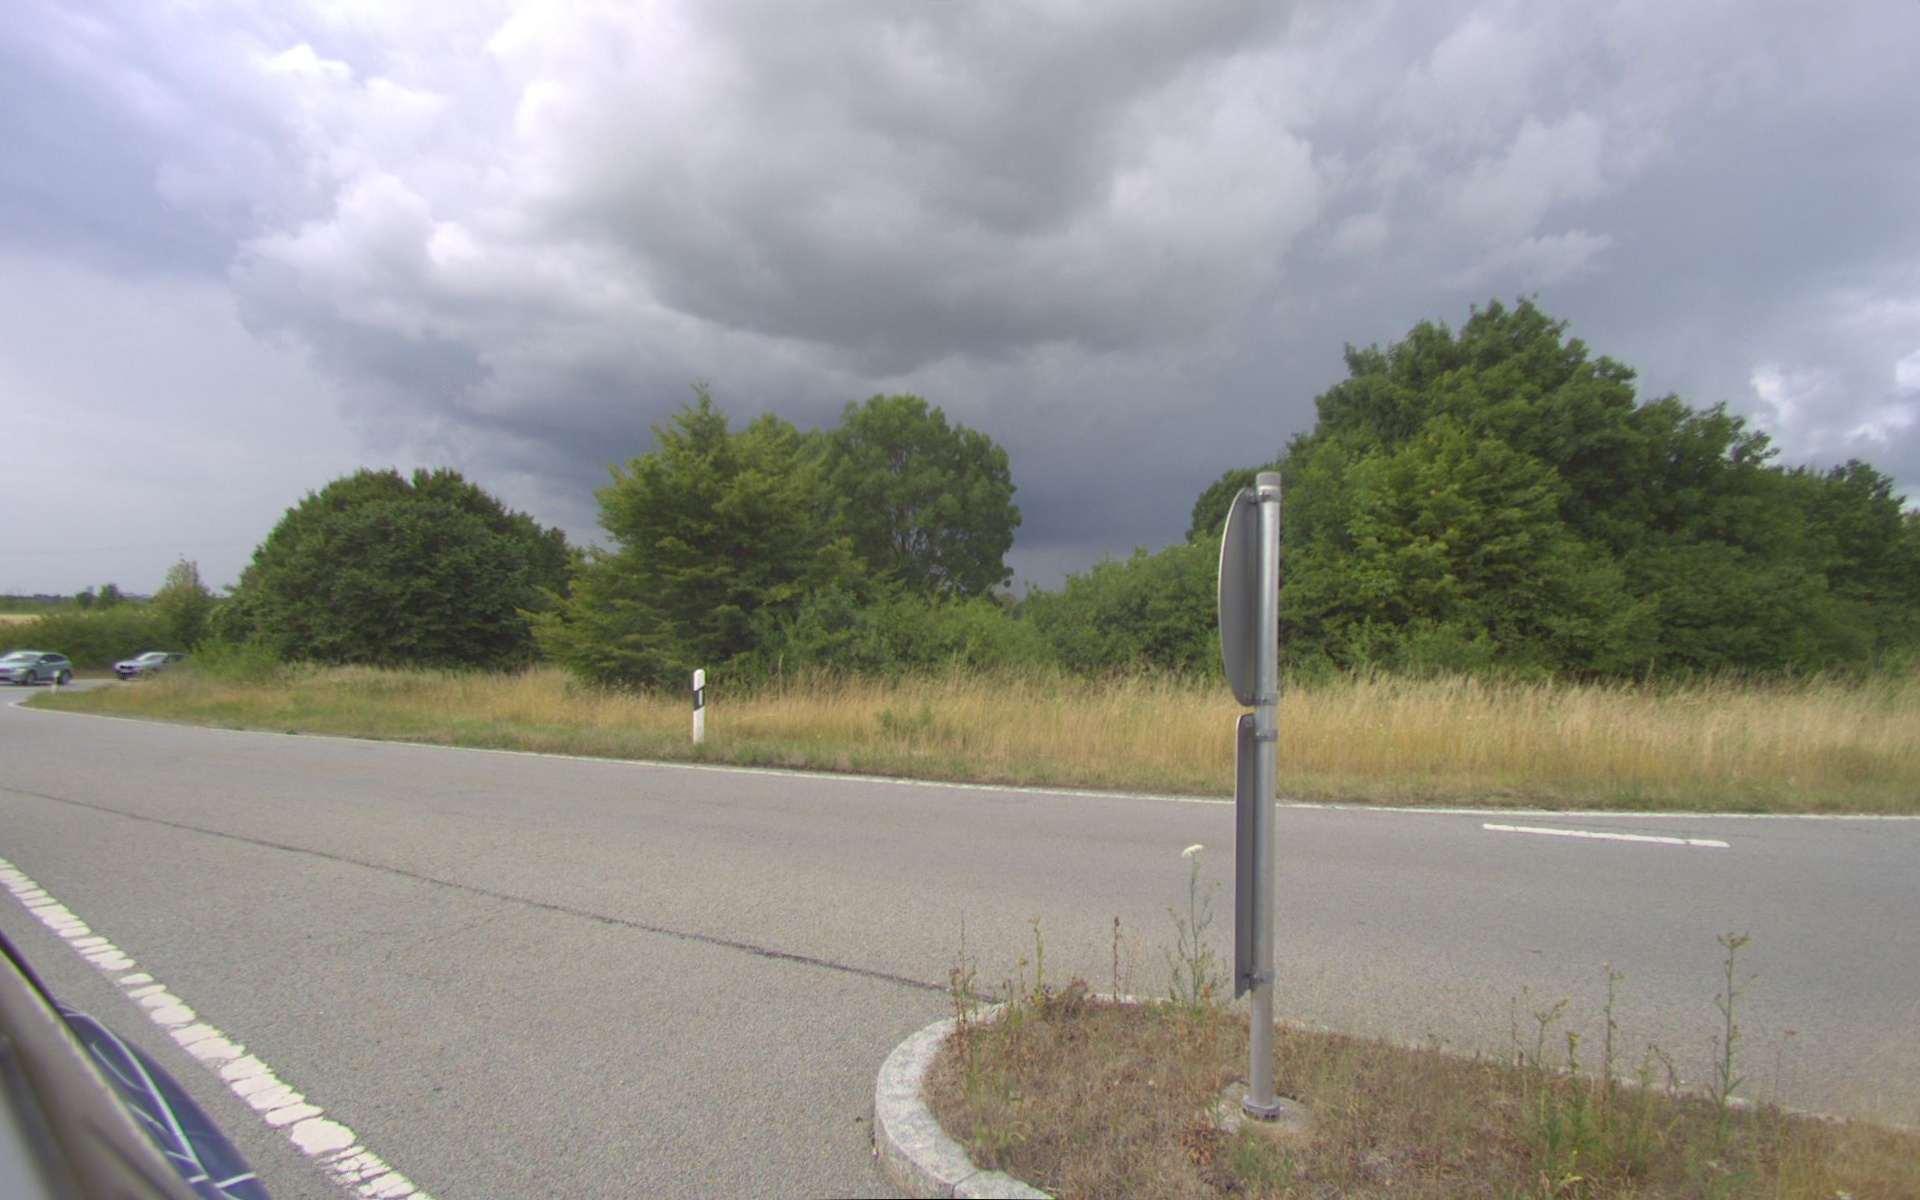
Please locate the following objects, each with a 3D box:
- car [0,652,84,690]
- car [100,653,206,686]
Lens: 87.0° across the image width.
[{"bbox_3d":[-45.812,3.487,49.746,1.966,1.733,5.222,3,-5,-15],"label":"car"},{"bbox_3d":[-47.734,4.057,60.004,1.973,1.732,5.206,2,-2,1],"label":"car"}]
